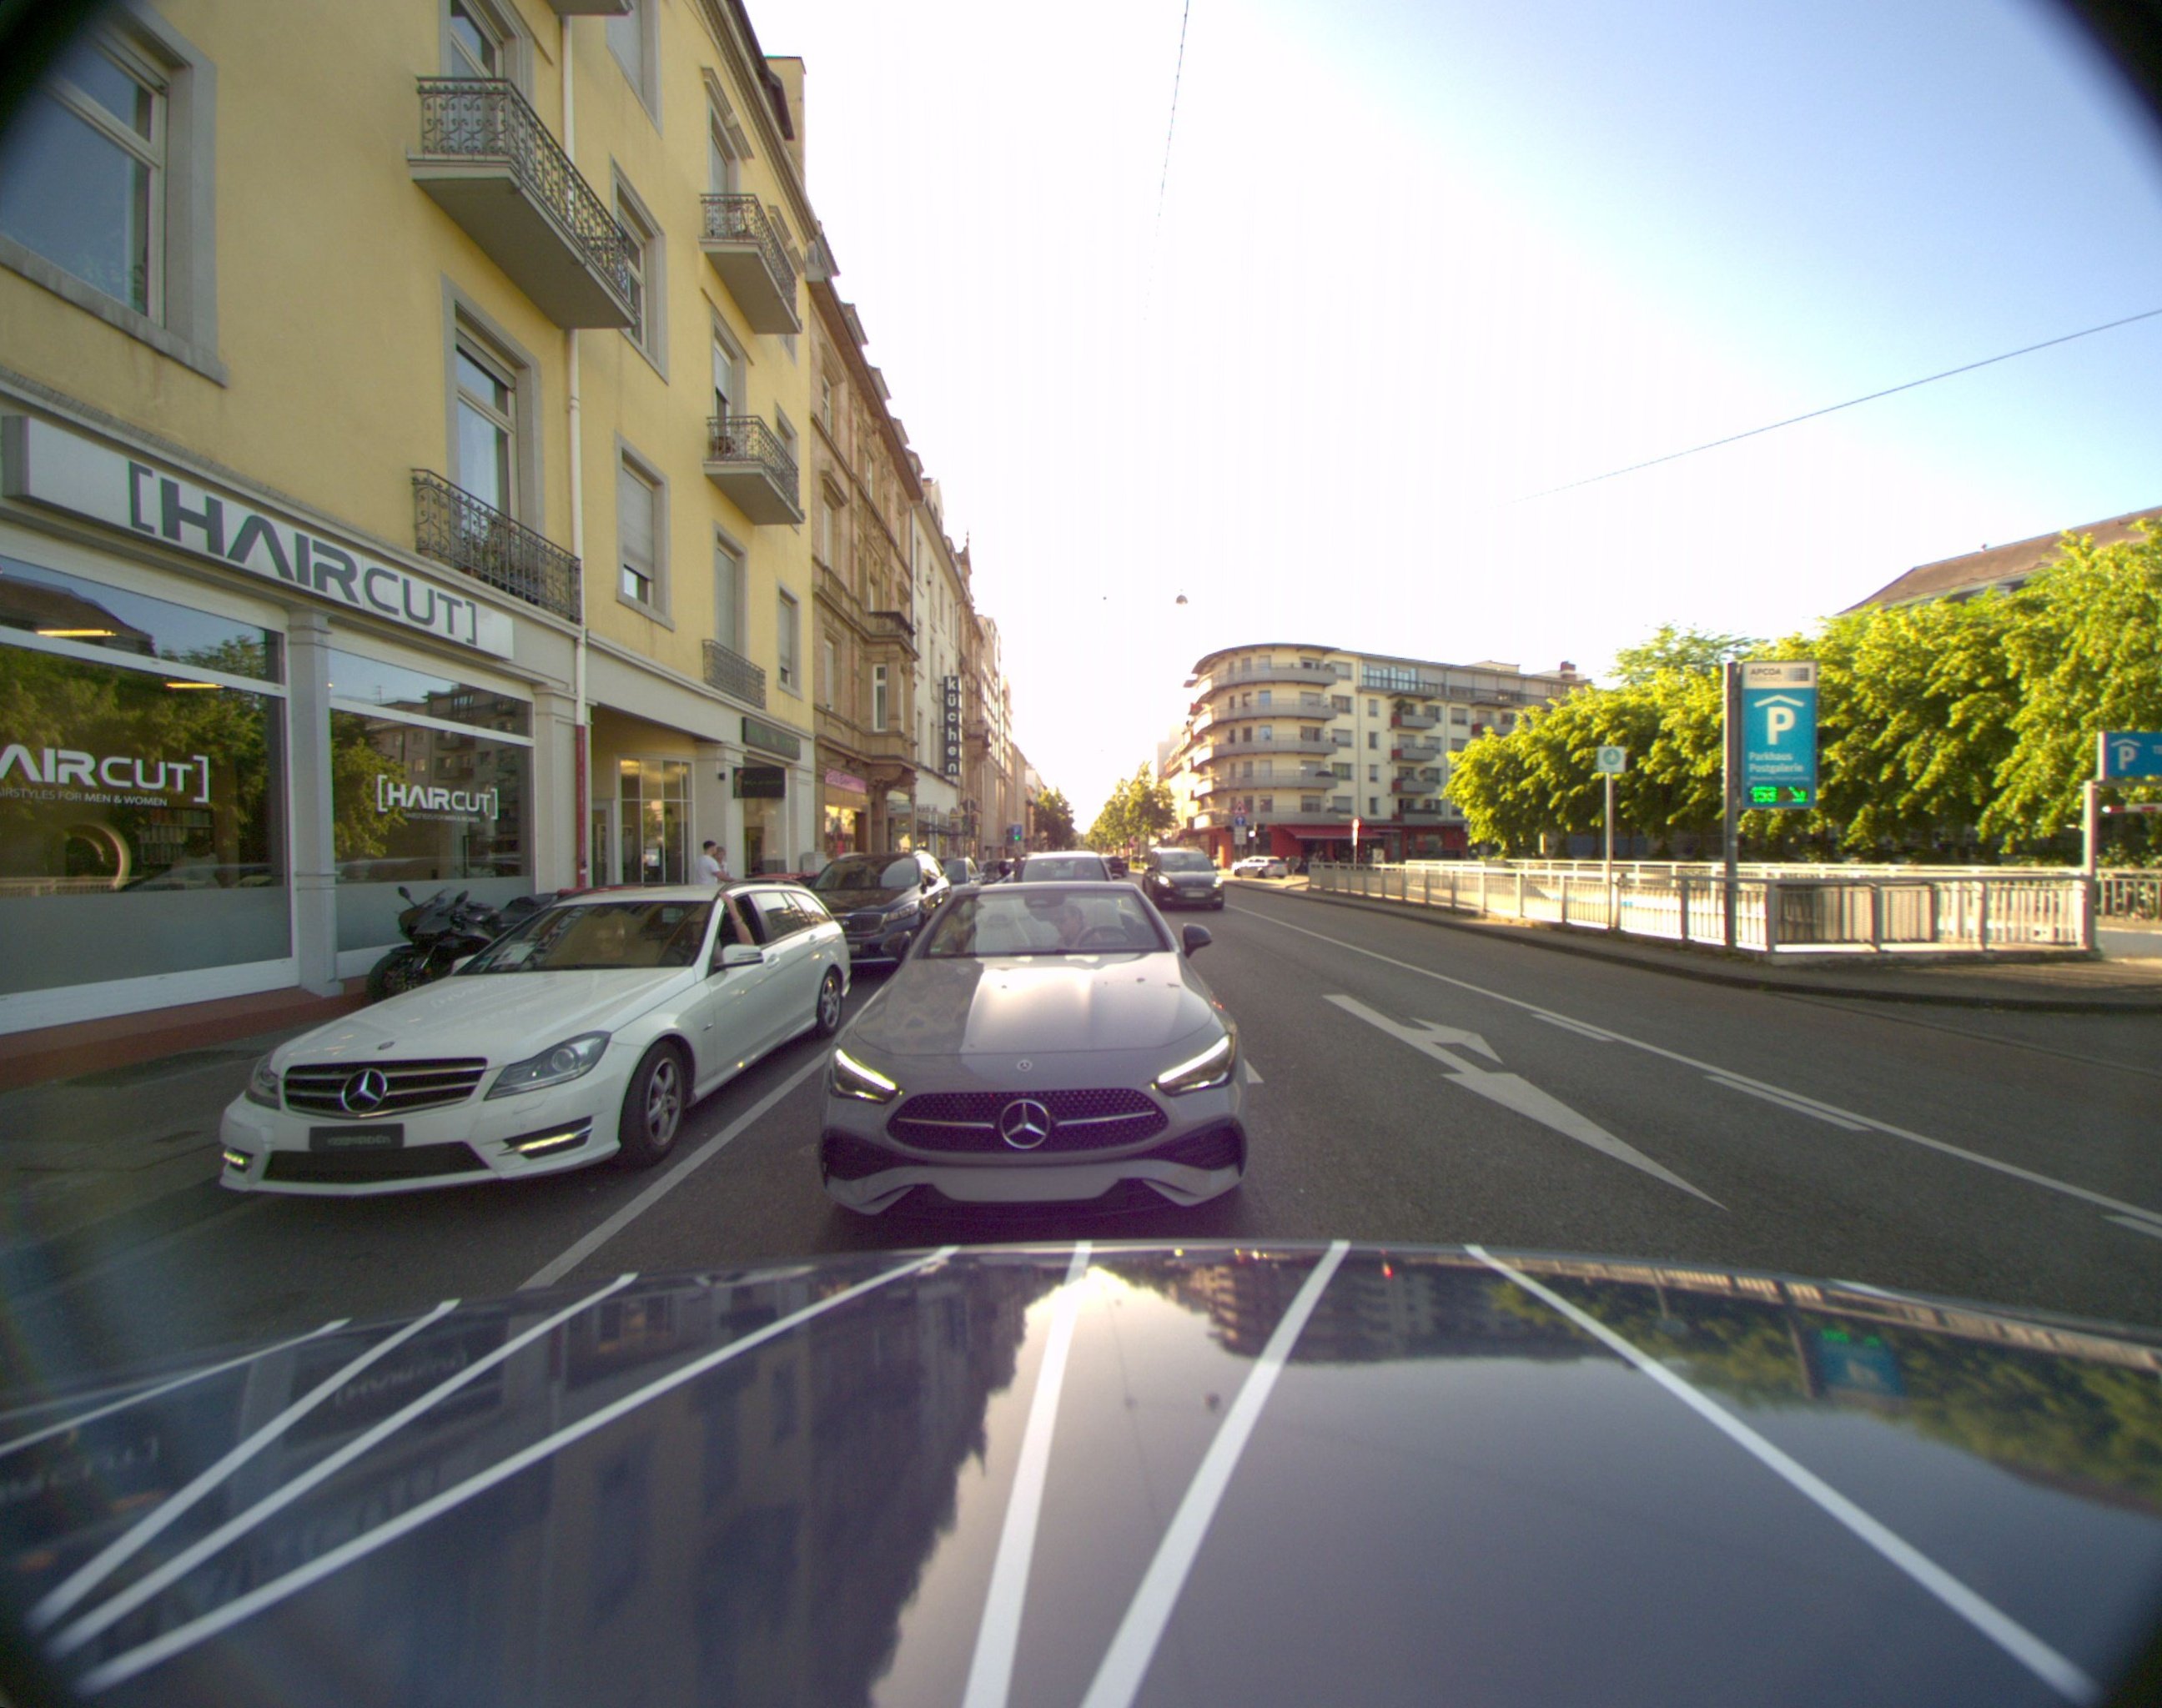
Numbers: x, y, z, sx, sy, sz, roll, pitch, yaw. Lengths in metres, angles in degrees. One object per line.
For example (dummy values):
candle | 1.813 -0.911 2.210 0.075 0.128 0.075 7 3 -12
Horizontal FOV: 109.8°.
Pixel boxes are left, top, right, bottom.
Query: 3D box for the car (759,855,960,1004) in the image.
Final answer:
car | -2.993 0.893 11.364 1.858 1.688 4.697 -1 0 -4

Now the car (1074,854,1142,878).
car | 1.745 0.722 47.850 1.994 1.375 4.298 -1 0 39

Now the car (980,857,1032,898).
car | -2.964 0.890 30.721 1.715 1.477 3.999 -1 0 0

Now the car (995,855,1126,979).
car | -0.246 0.850 12.170 1.716 1.599 4.000 -1 0 1

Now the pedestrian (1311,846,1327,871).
pedestrian | 17.507 0.339 55.855 0.756 1.795 0.755 -2 1 -41

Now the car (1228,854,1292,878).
car | 11.544 0.774 49.246 1.806 1.426 4.242 -2 0 -25

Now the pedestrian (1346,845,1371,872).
pedestrian | 21.616 0.346 59.162 1.234 2.002 1.259 -2 1 -21

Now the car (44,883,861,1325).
car | -3.063 1.044 5.209 1.759 1.453 4.597 -1 0 0

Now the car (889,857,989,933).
car | -3.243 0.891 17.896 1.696 1.559 3.018 -1 0 1

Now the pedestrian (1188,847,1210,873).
pedestrian | 9.213 0.471 59.356 1.202 2.002 1.018 -3 1 -37

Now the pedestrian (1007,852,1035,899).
pedestrian | -2.162 0.764 27.463 0.694 1.657 0.833 -2 1 -27

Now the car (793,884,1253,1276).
car | -0.255 1.013 5.259 1.849 1.371 4.255 -2 0 -1

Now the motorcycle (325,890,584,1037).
motorcycle | -6.257 1.023 7.819 0.773 1.158 2.247 1 0 1

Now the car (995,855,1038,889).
car | -3.046 0.814 36.473 1.715 1.477 3.999 -1 0 0

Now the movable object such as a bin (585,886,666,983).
movable object such as a bin | -6.054 1.054 10.133 0.647 1.200 0.644 -1 1 1

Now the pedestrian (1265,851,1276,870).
pedestrian | 15.057 0.503 60.264 0.791 1.452 0.583 -1 1 10

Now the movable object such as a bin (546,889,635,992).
movable object such as a bin | -6.104 1.063 9.481 0.647 1.200 0.644 -1 1 1

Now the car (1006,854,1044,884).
car | -2.978 0.764 40.991 1.715 1.477 3.999 -1 0 0

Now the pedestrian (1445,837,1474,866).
pedestrian | 27.269 -0.193 54.759 1.319 2.002 1.294 -1 1 -7

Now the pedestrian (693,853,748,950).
pedestrian | -6.165 0.787 13.007 0.572 1.607 0.643 -1 1 2

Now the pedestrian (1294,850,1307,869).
pedestrian | 17.694 0.443 61.147 0.583 1.453 0.790 -2 1 -37

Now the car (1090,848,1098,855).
car | 3.674 -0.700 215.431 1.998 1.805 4.000 -1 0 1

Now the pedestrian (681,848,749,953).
pedestrian | -5.808 0.719 12.077 0.642 1.607 0.701 -1 1 9

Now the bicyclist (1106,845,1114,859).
bicyclist | 3.330 -0.237 86.335 0.758 1.651 1.143 -2 1 -3

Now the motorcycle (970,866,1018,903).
motorcycle | -3.053 1.048 26.780 0.769 1.225 1.546 -1 1 42

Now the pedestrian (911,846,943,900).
pedestrian | -4.771 0.577 23.605 0.795 1.607 0.763 -1 1 -1

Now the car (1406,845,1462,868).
car | 29.038 0.178 62.444 4.004 1.740 1.996 -2 1 -23

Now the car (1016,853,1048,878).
car | -3.020 0.693 47.586 1.715 1.477 4.062 -1 0 0

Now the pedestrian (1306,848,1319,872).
pedestrian | 16.863 0.458 55.323 0.674 1.696 0.699 -2 1 -7

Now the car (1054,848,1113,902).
car | 0.109 0.700 27.399 1.952 1.742 4.000 -1 0 1

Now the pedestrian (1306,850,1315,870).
pedestrian | 17.954 0.465 59.492 0.581 1.481 0.793 -1 1 13
